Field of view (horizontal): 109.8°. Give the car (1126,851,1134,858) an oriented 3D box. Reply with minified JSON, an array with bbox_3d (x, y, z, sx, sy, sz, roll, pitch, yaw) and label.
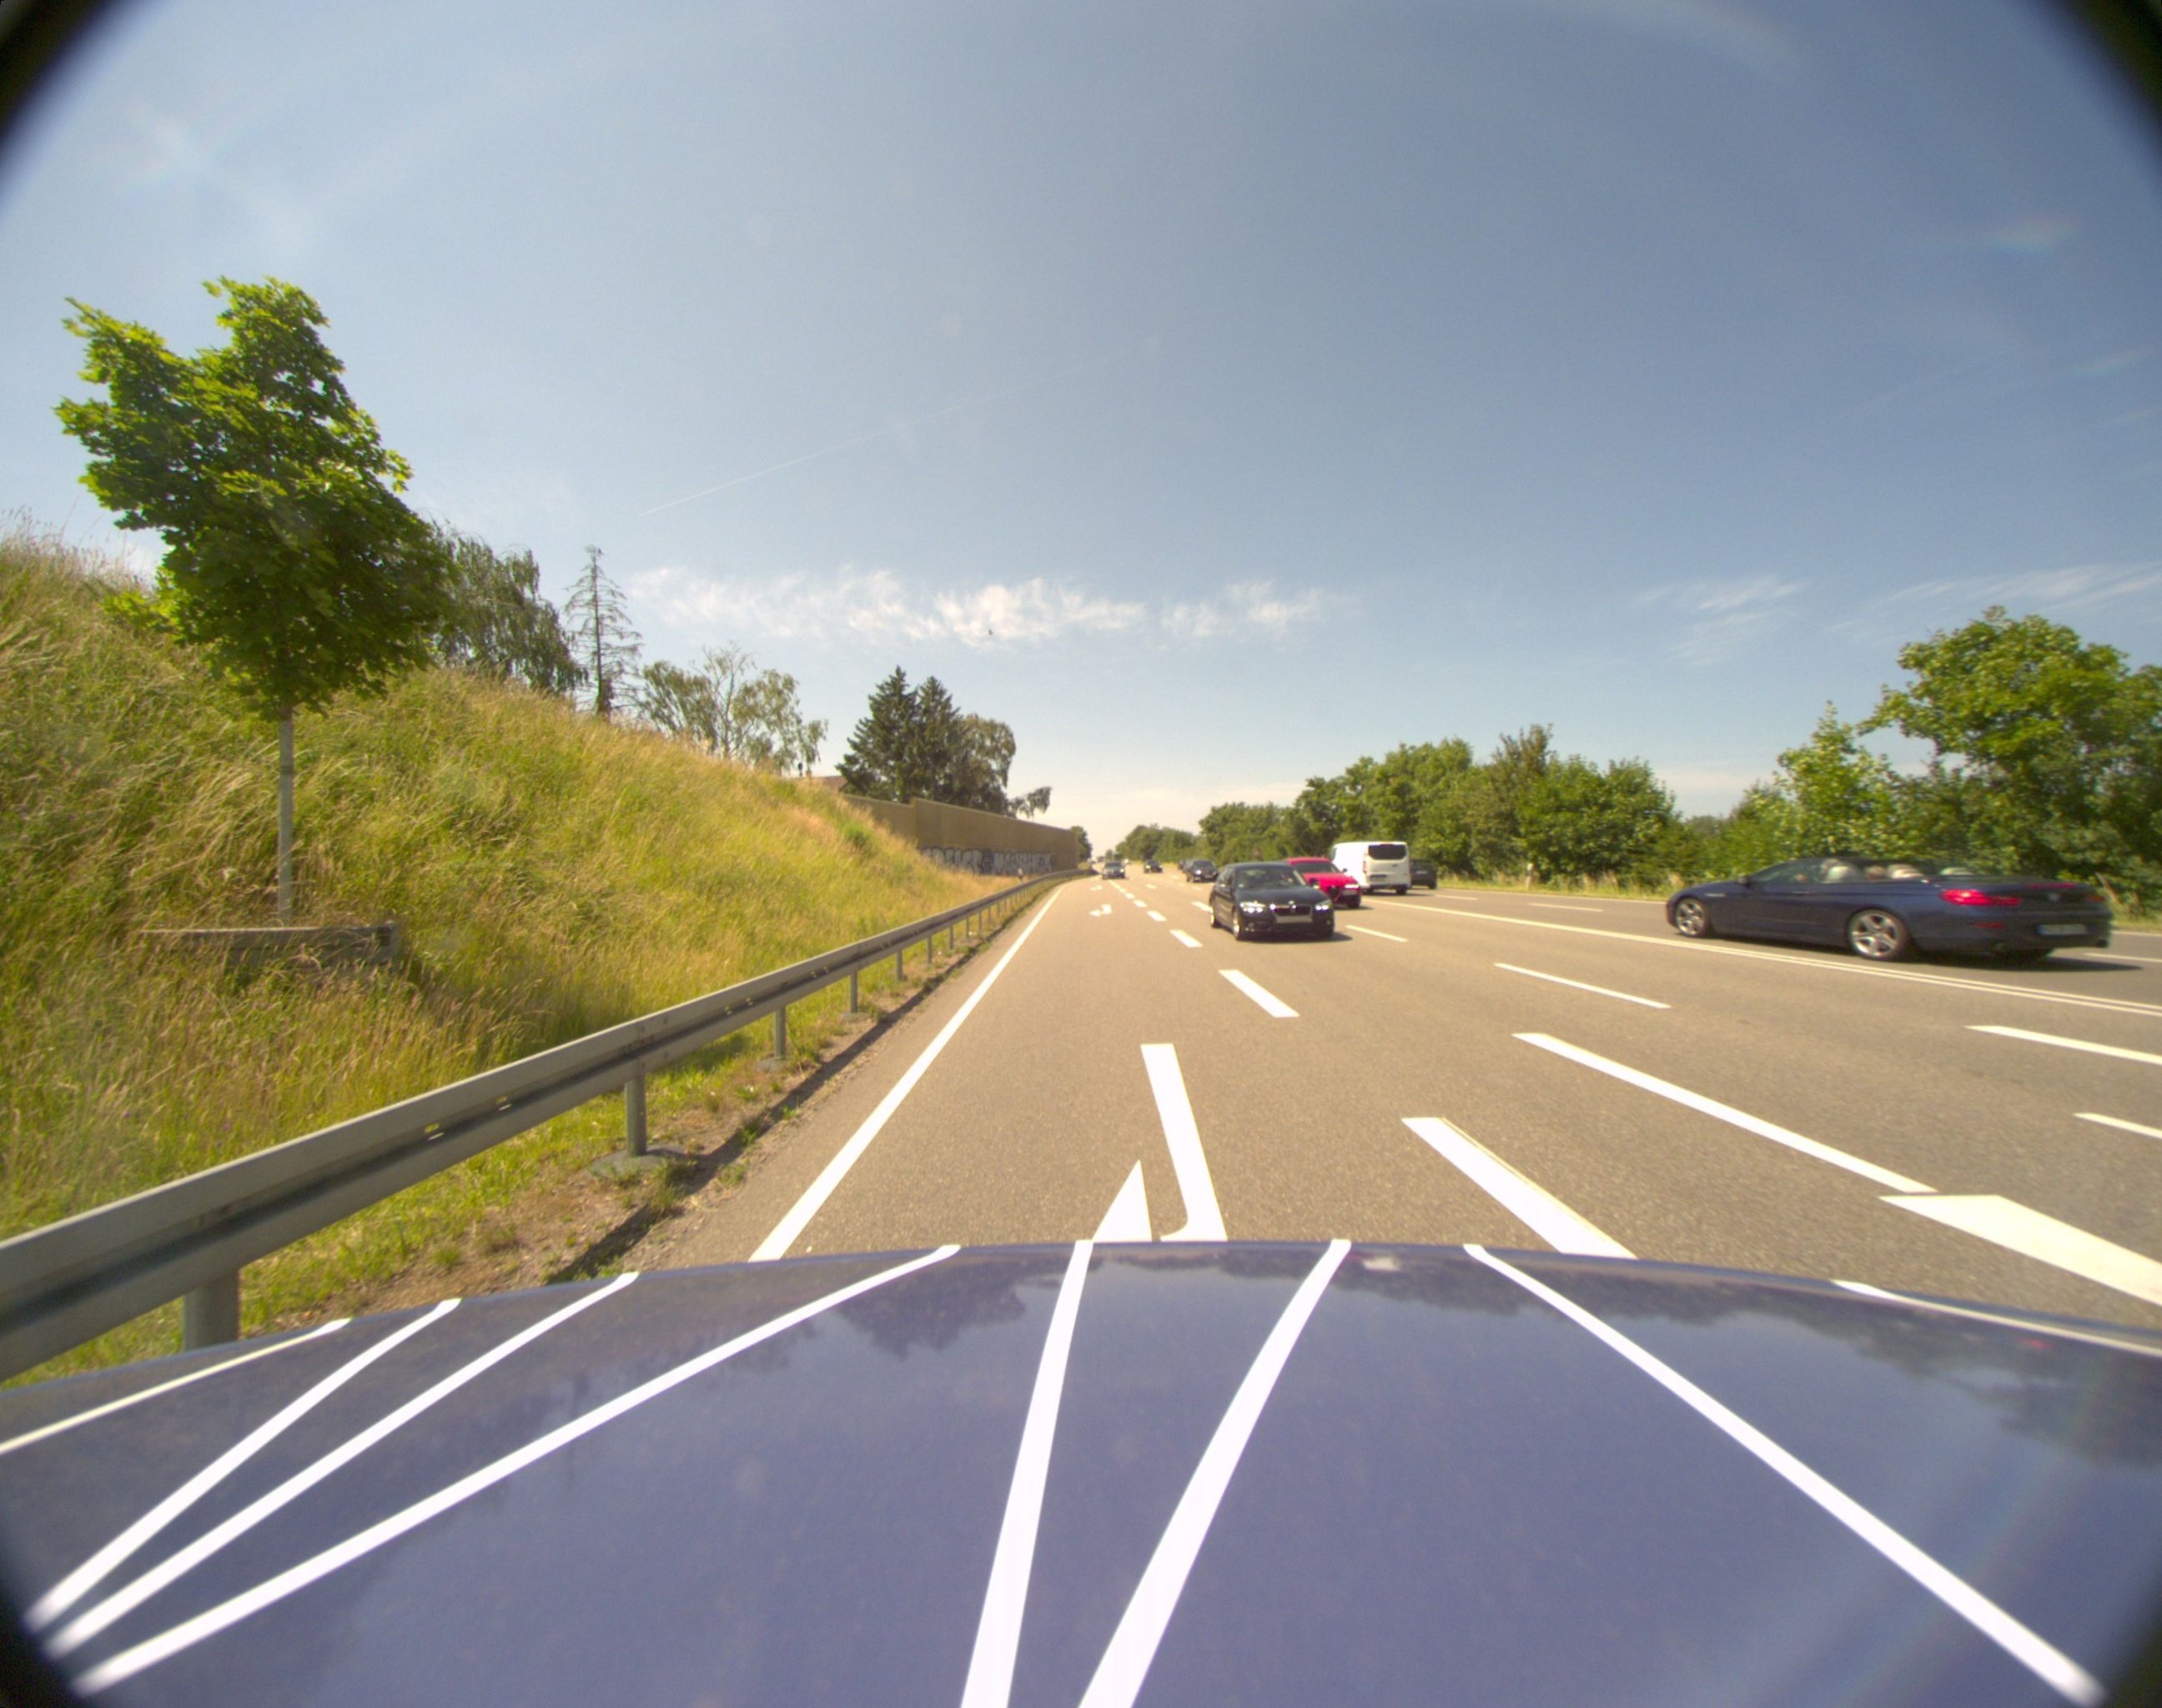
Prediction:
[{"bbox_3d":[13.323,0.147,205.388,1.747,1.808,3.999,-2,1,0],"label":"car"}]

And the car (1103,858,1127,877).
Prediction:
[{"bbox_3d":[2.825,1.089,62.540,1.893,1.439,4.527,-2,0,3],"label":"car"}]

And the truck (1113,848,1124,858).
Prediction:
[{"bbox_3d":[13.062,-0.431,262.862,3.360,3.380,7.982,-2,1,0],"label":"truck"}]

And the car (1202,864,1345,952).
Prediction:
[{"bbox_3d":[3.655,0.956,15.234,1.788,1.422,4.381,-2,0,1],"label":"car"}]

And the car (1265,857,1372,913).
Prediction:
[{"bbox_3d":[6.836,0.854,22.425,1.753,1.413,4.566,-2,0,1],"label":"car"}]

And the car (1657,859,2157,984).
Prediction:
[{"bbox_3d":[10.747,0.753,10.605,1.809,1.272,4.765,-2,0,1],"label":"car"}]

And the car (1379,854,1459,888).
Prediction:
[{"bbox_3d":[15.531,0.742,35.174,1.663,1.453,4.343,-1,0,-1],"label":"car"}]

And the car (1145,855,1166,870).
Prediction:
[{"bbox_3d":[8.027,0.916,81.833,1.893,1.439,4.526,-2,0,2],"label":"car"}]

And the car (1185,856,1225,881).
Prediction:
[{"bbox_3d":[7.728,0.885,47.728,1.679,1.403,4.466,-2,0,-1],"label":"car"}]

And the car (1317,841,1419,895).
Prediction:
[{"bbox_3d":[10.932,0.499,29.383,1.910,1.906,5.050,0,0,-2],"label":"car"}]
